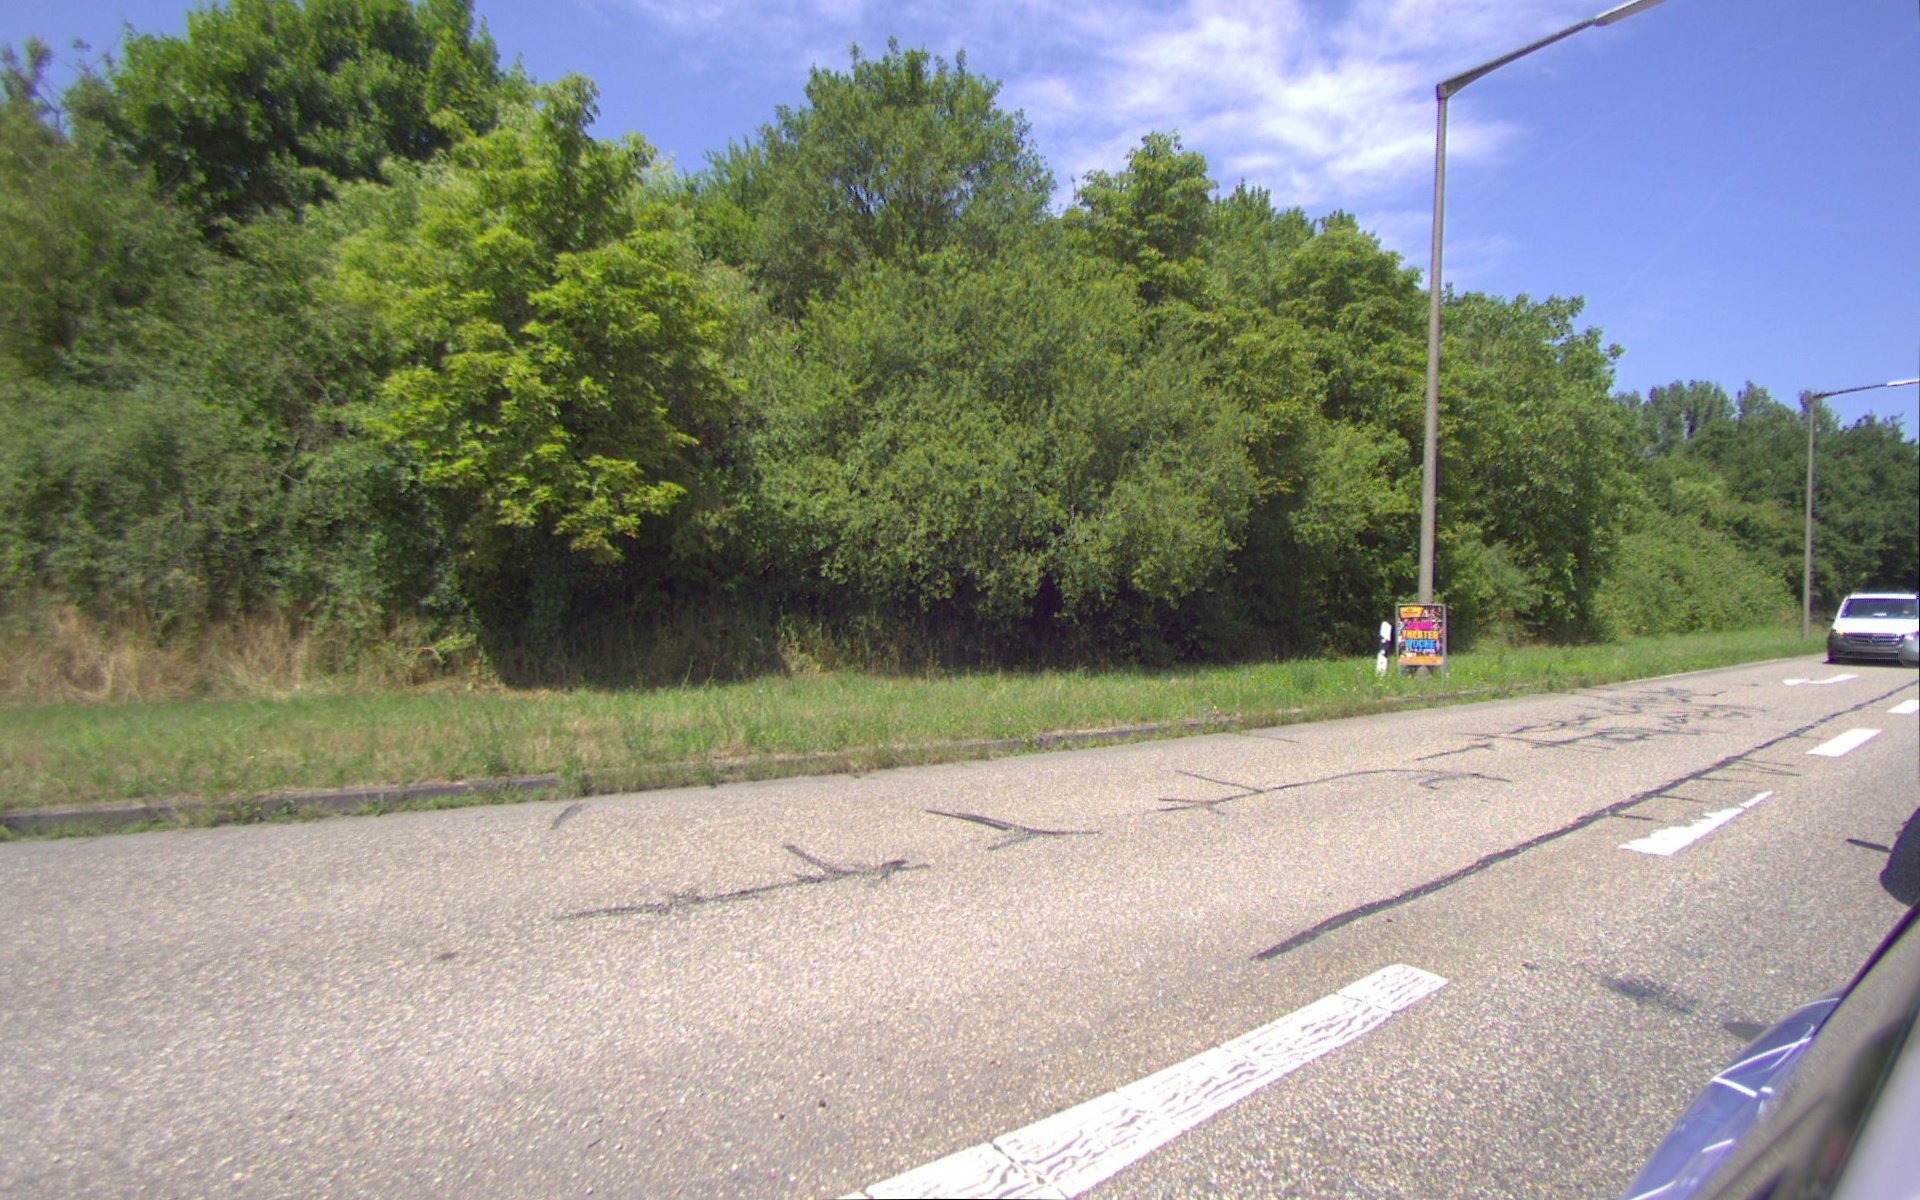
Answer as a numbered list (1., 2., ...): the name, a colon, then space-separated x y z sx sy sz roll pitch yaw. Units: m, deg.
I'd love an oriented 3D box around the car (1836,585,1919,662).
1. car: 24.547 0.572 26.416 4.822 1.841 1.863 0 0 -41
